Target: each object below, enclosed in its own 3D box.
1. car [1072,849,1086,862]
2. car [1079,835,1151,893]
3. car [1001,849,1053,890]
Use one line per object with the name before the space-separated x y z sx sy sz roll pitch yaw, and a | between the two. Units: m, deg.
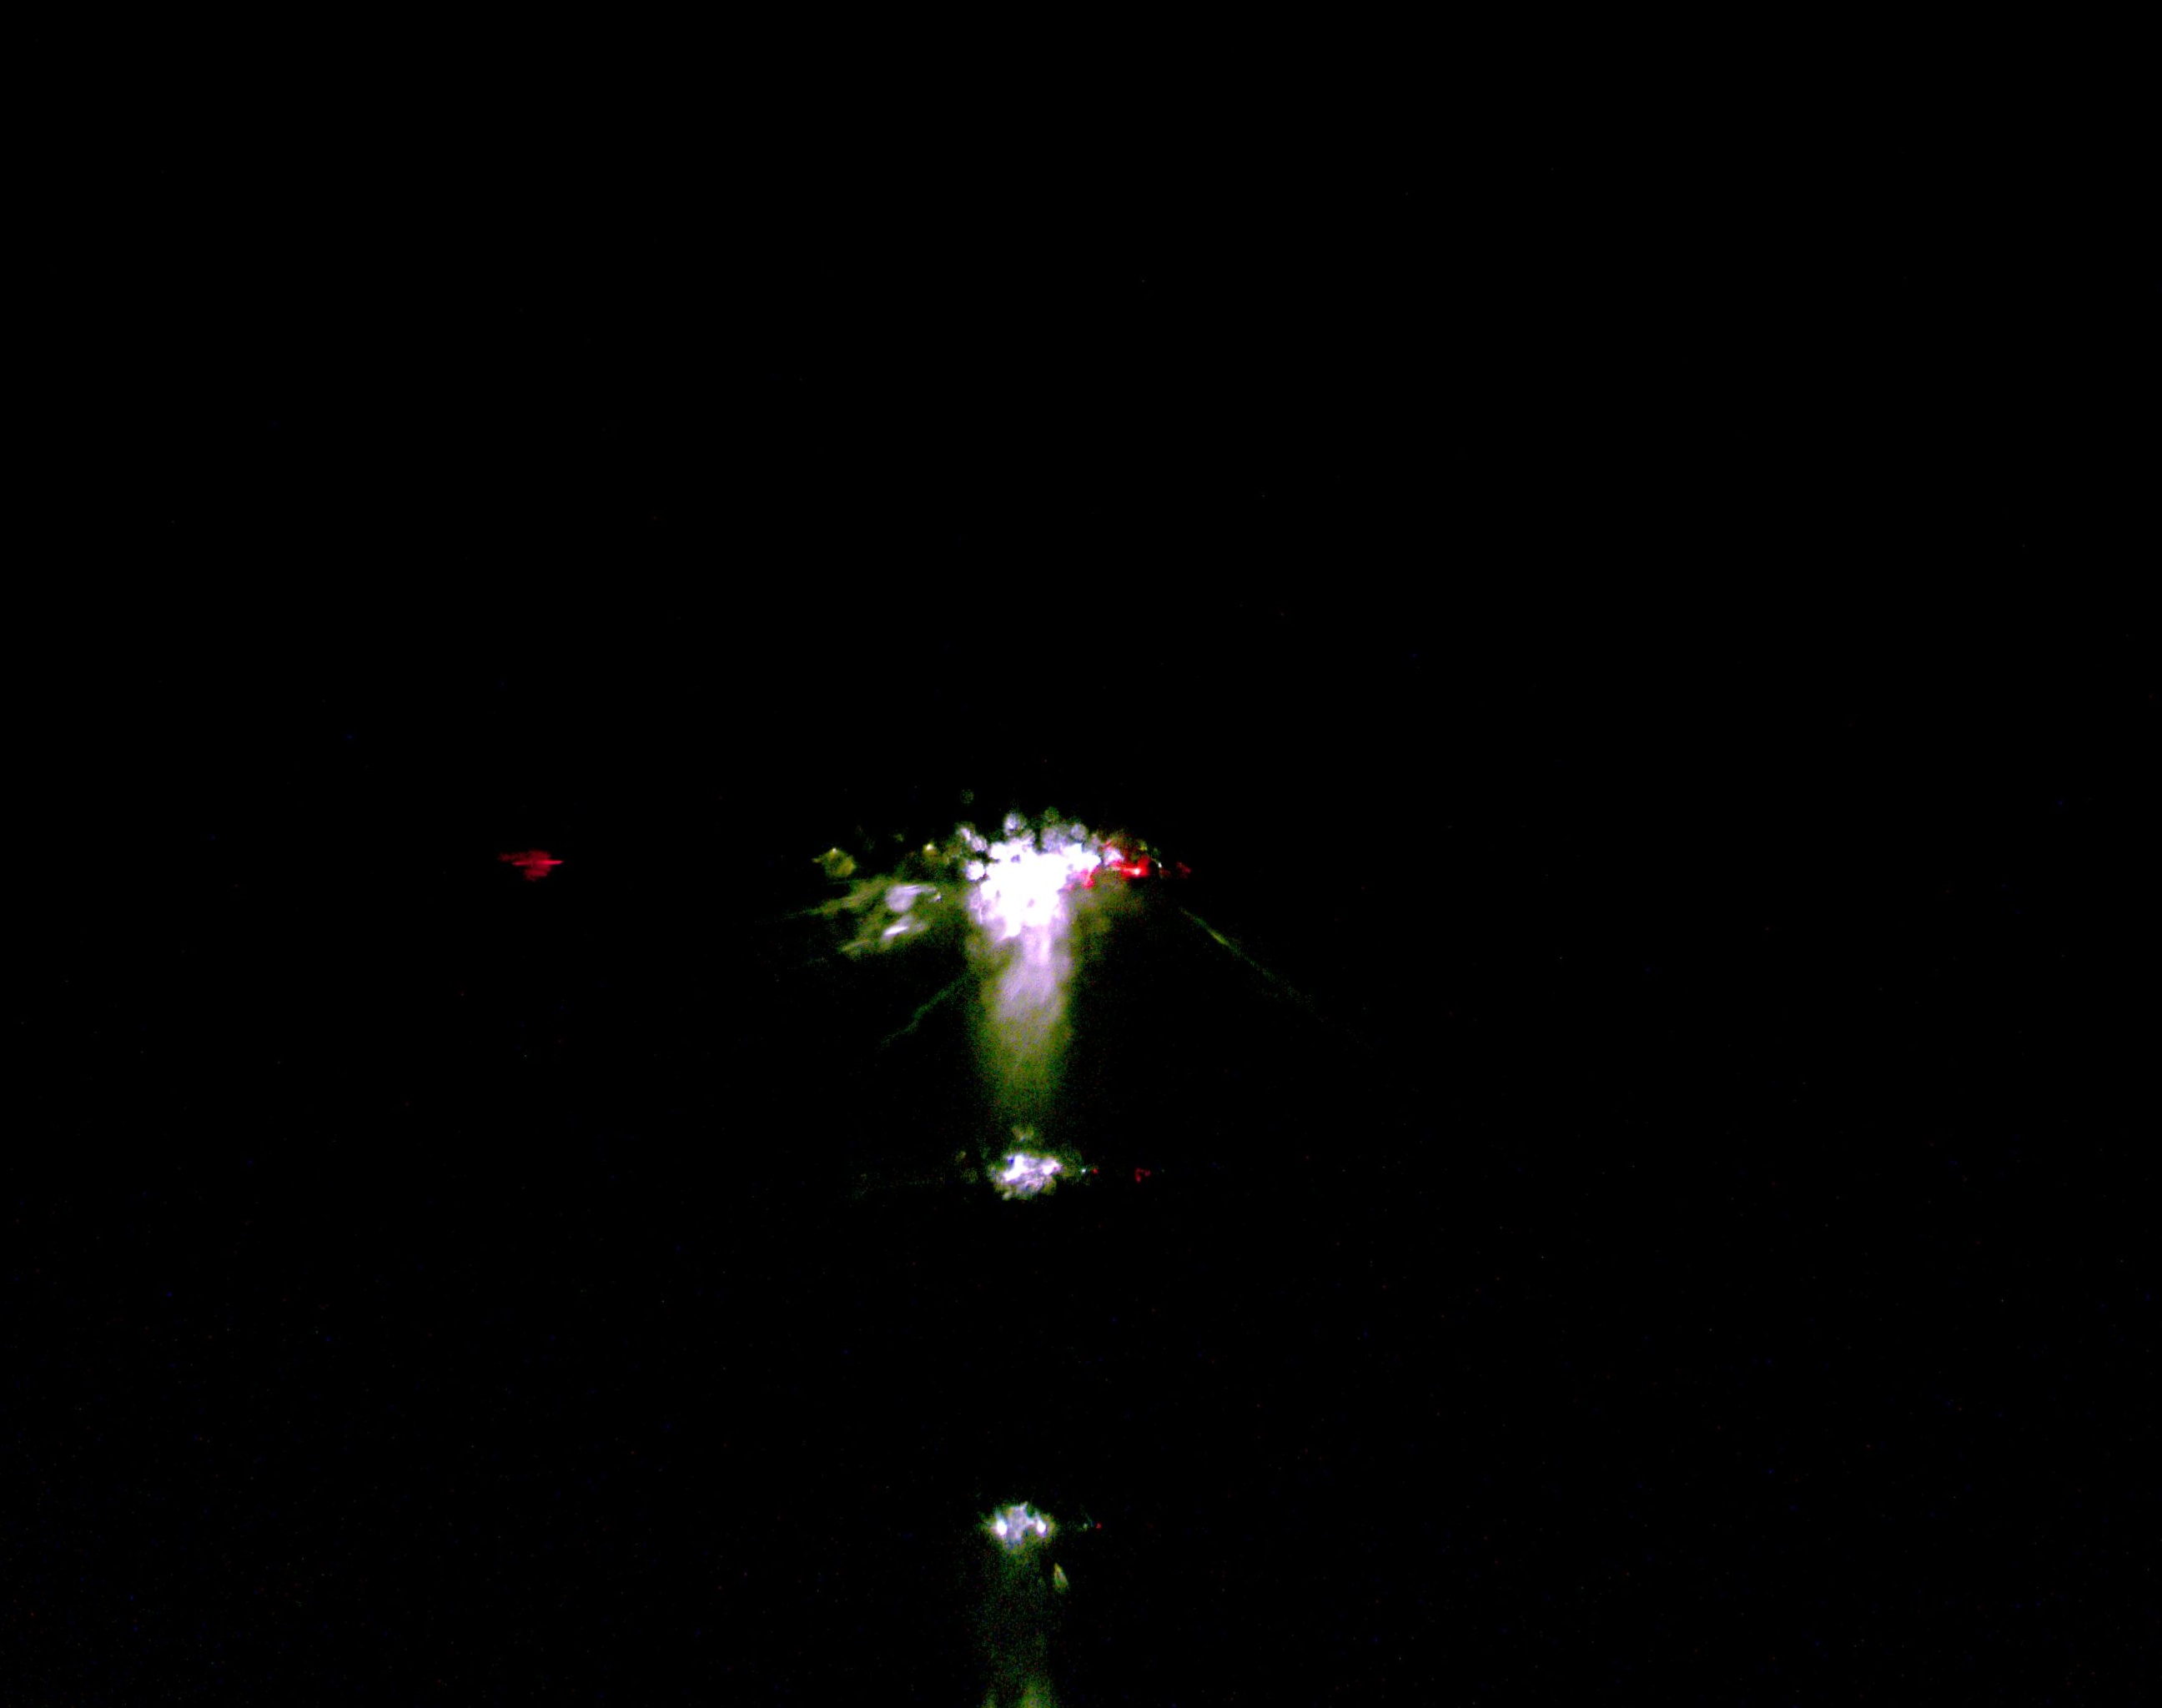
car | -0.267 0.216 111.126 1.789 1.538 3.800 -4 0 0
car | 1.270 0.347 30.412 2.448 1.958 4.914 -1 0 2
car | -2.278 0.625 35.317 1.759 1.519 4.492 -4 0 2
